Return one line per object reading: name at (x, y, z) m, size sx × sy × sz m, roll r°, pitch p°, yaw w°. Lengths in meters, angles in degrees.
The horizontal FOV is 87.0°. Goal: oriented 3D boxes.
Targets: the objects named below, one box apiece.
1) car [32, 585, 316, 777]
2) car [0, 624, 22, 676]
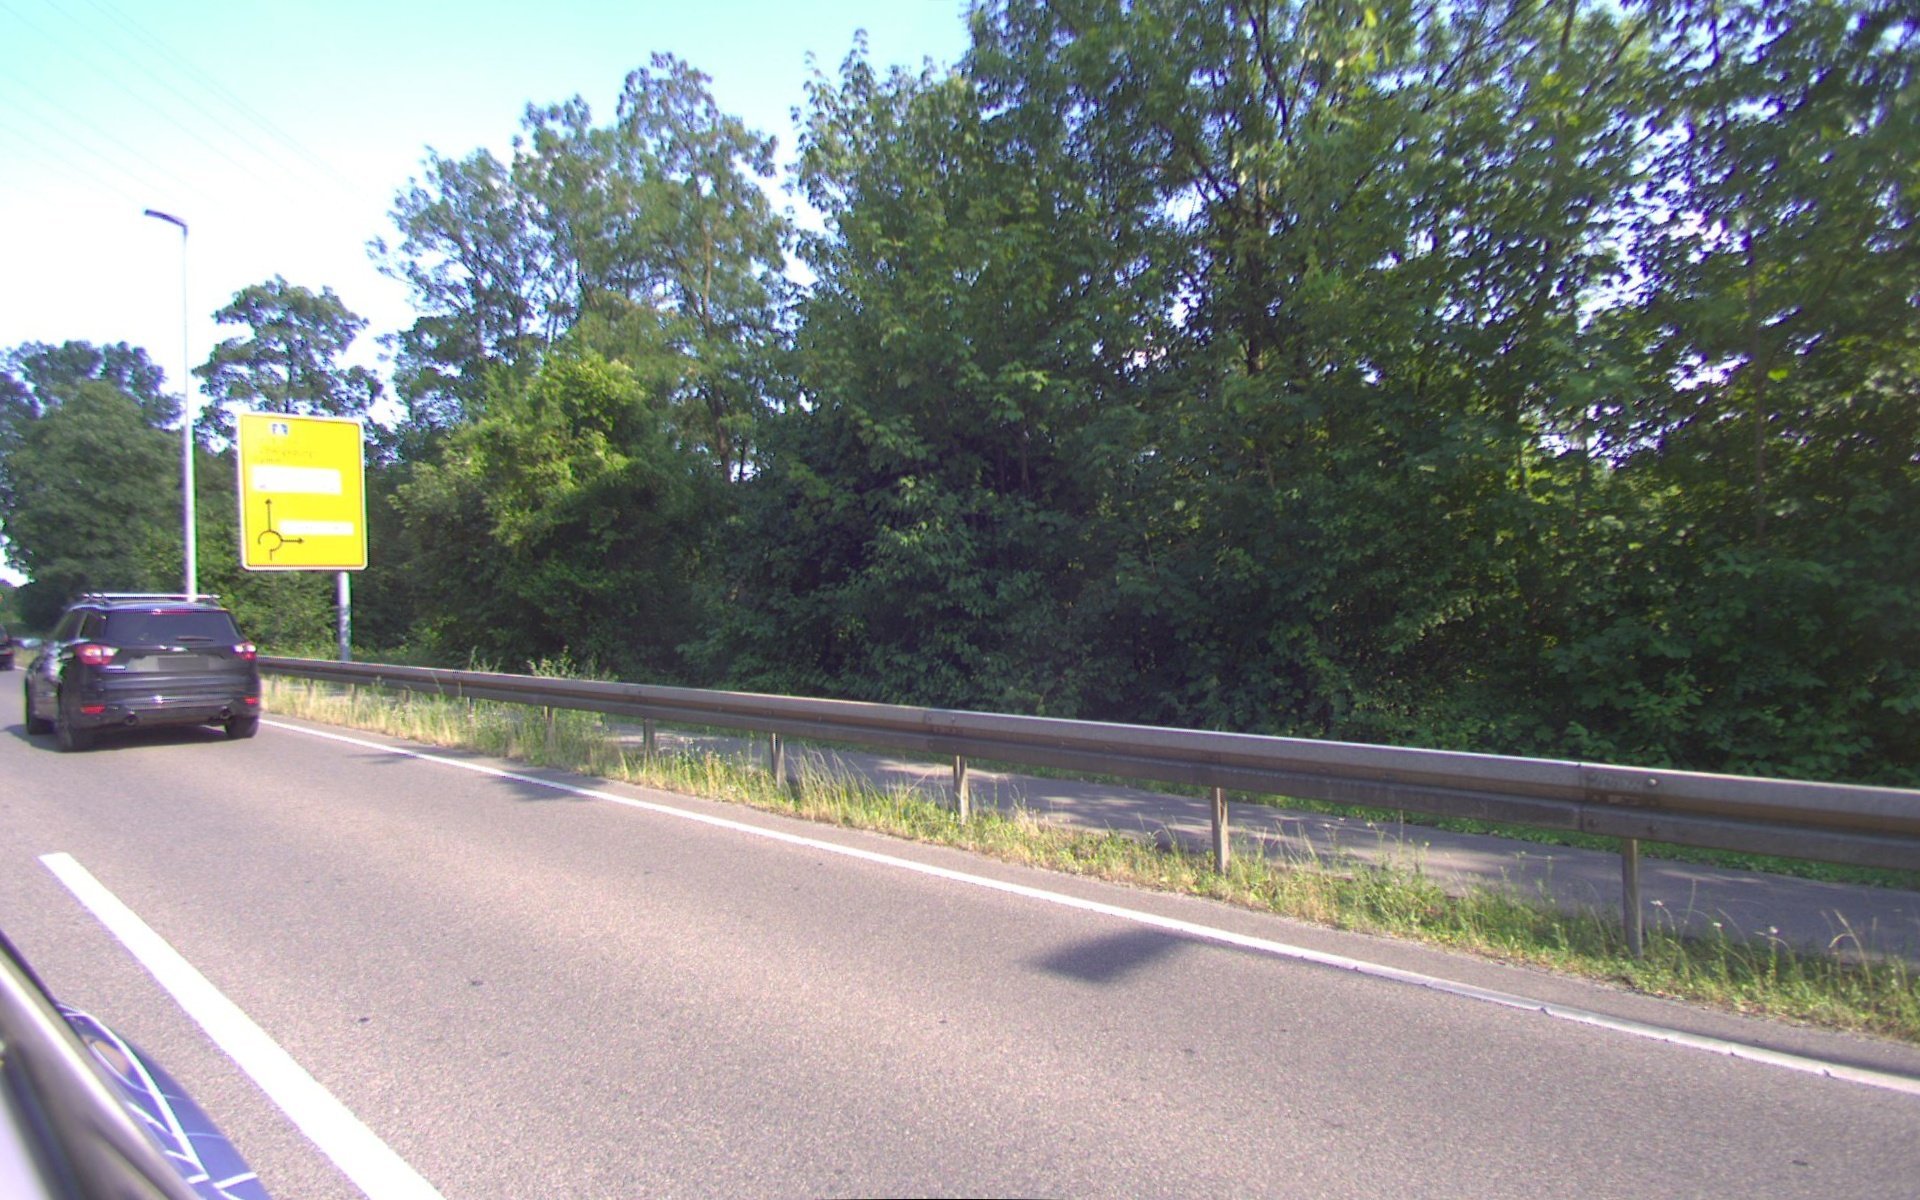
car at (-8.801, 0.777, 11.203) m, size 4.219 × 1.730 × 1.729 m, roll -1°, pitch -1°, yaw 41°
car at (-28.476, 1.419, 29.100) m, size 3.995 × 1.453 × 1.665 m, roll -1°, pitch -1°, yaw 39°
